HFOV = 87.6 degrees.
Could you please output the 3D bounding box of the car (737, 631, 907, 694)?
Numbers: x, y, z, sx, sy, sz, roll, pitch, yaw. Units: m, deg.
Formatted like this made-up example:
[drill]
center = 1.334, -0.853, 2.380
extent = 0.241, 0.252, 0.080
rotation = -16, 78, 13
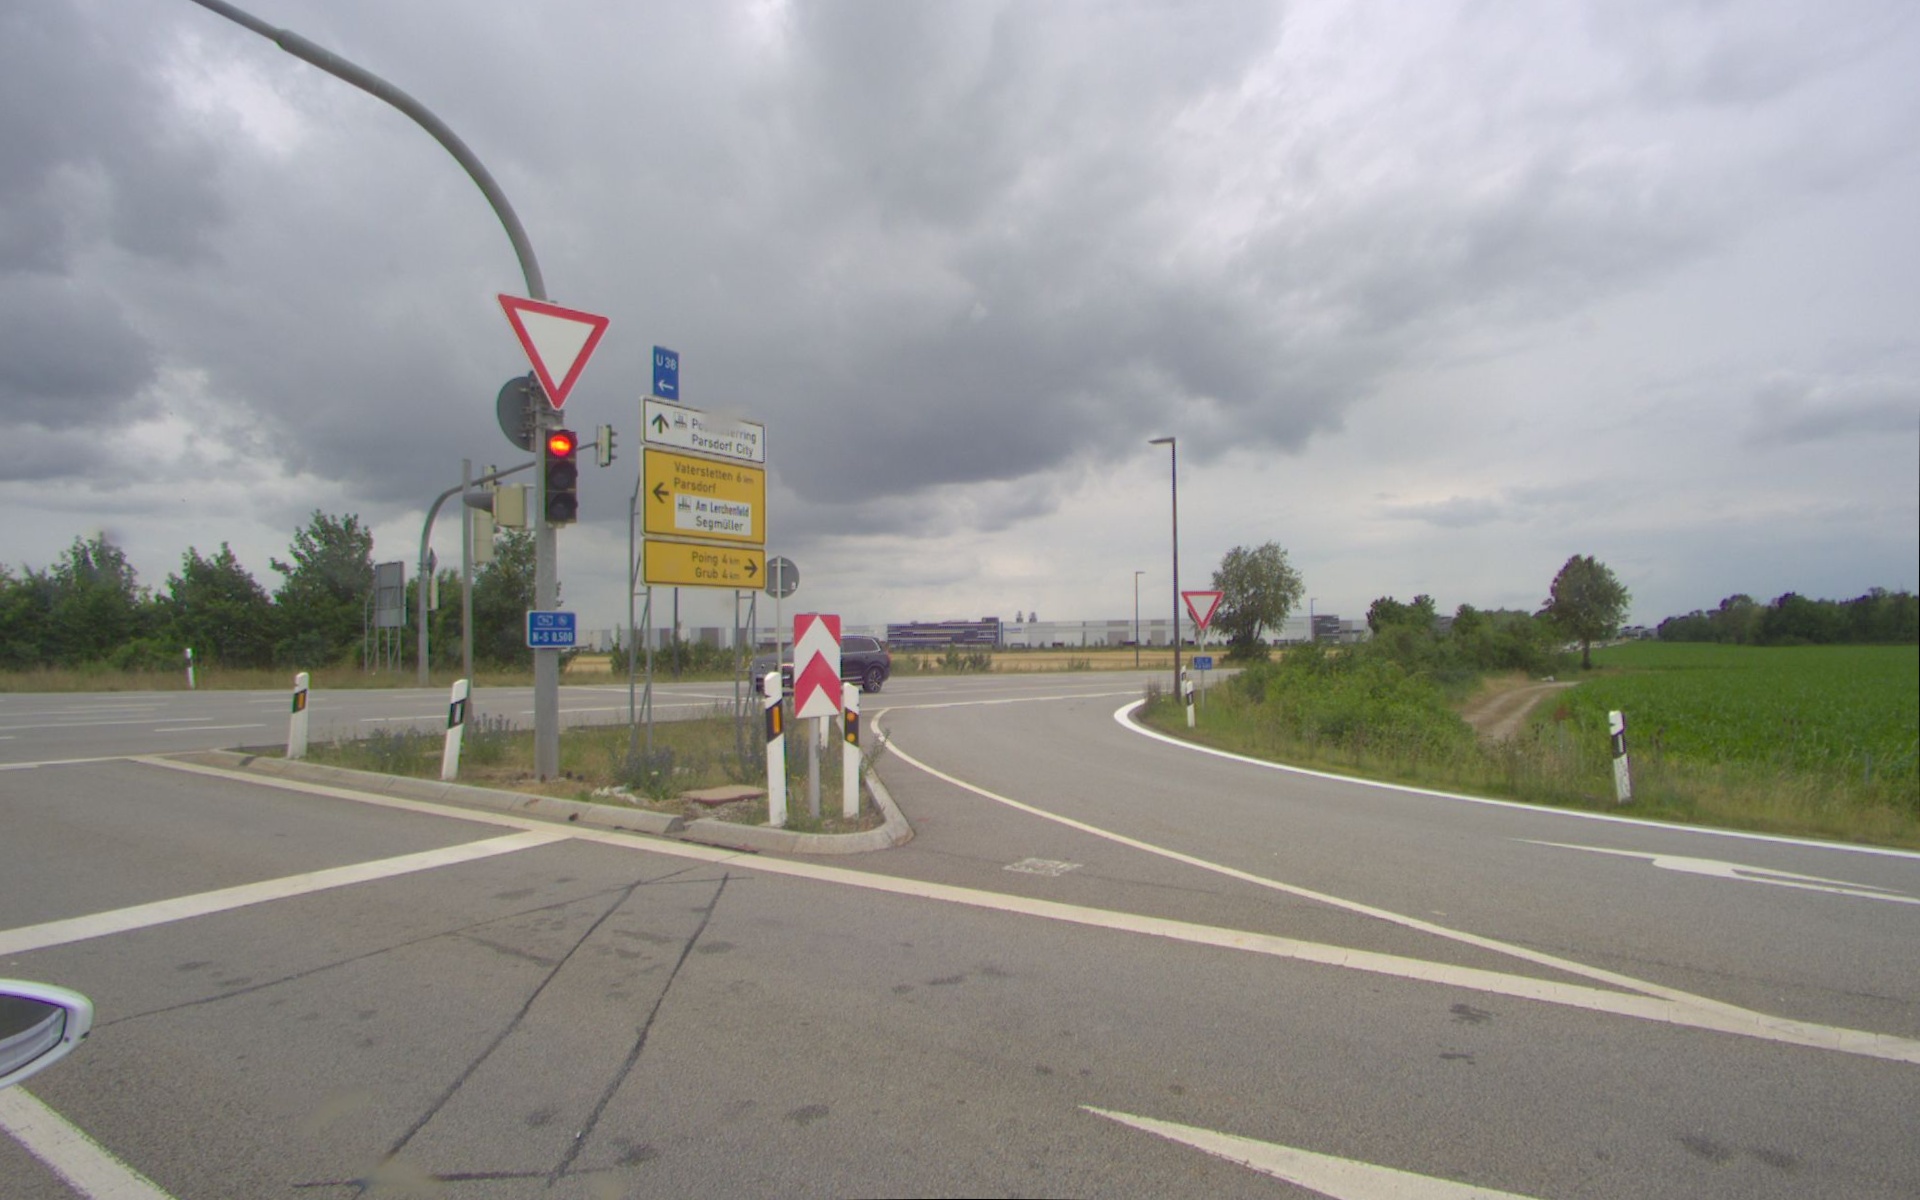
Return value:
[car]
center = -3.982, 1.827, 29.718
extent = 1.977, 1.705, 4.961
rotation = -2, -3, 41
